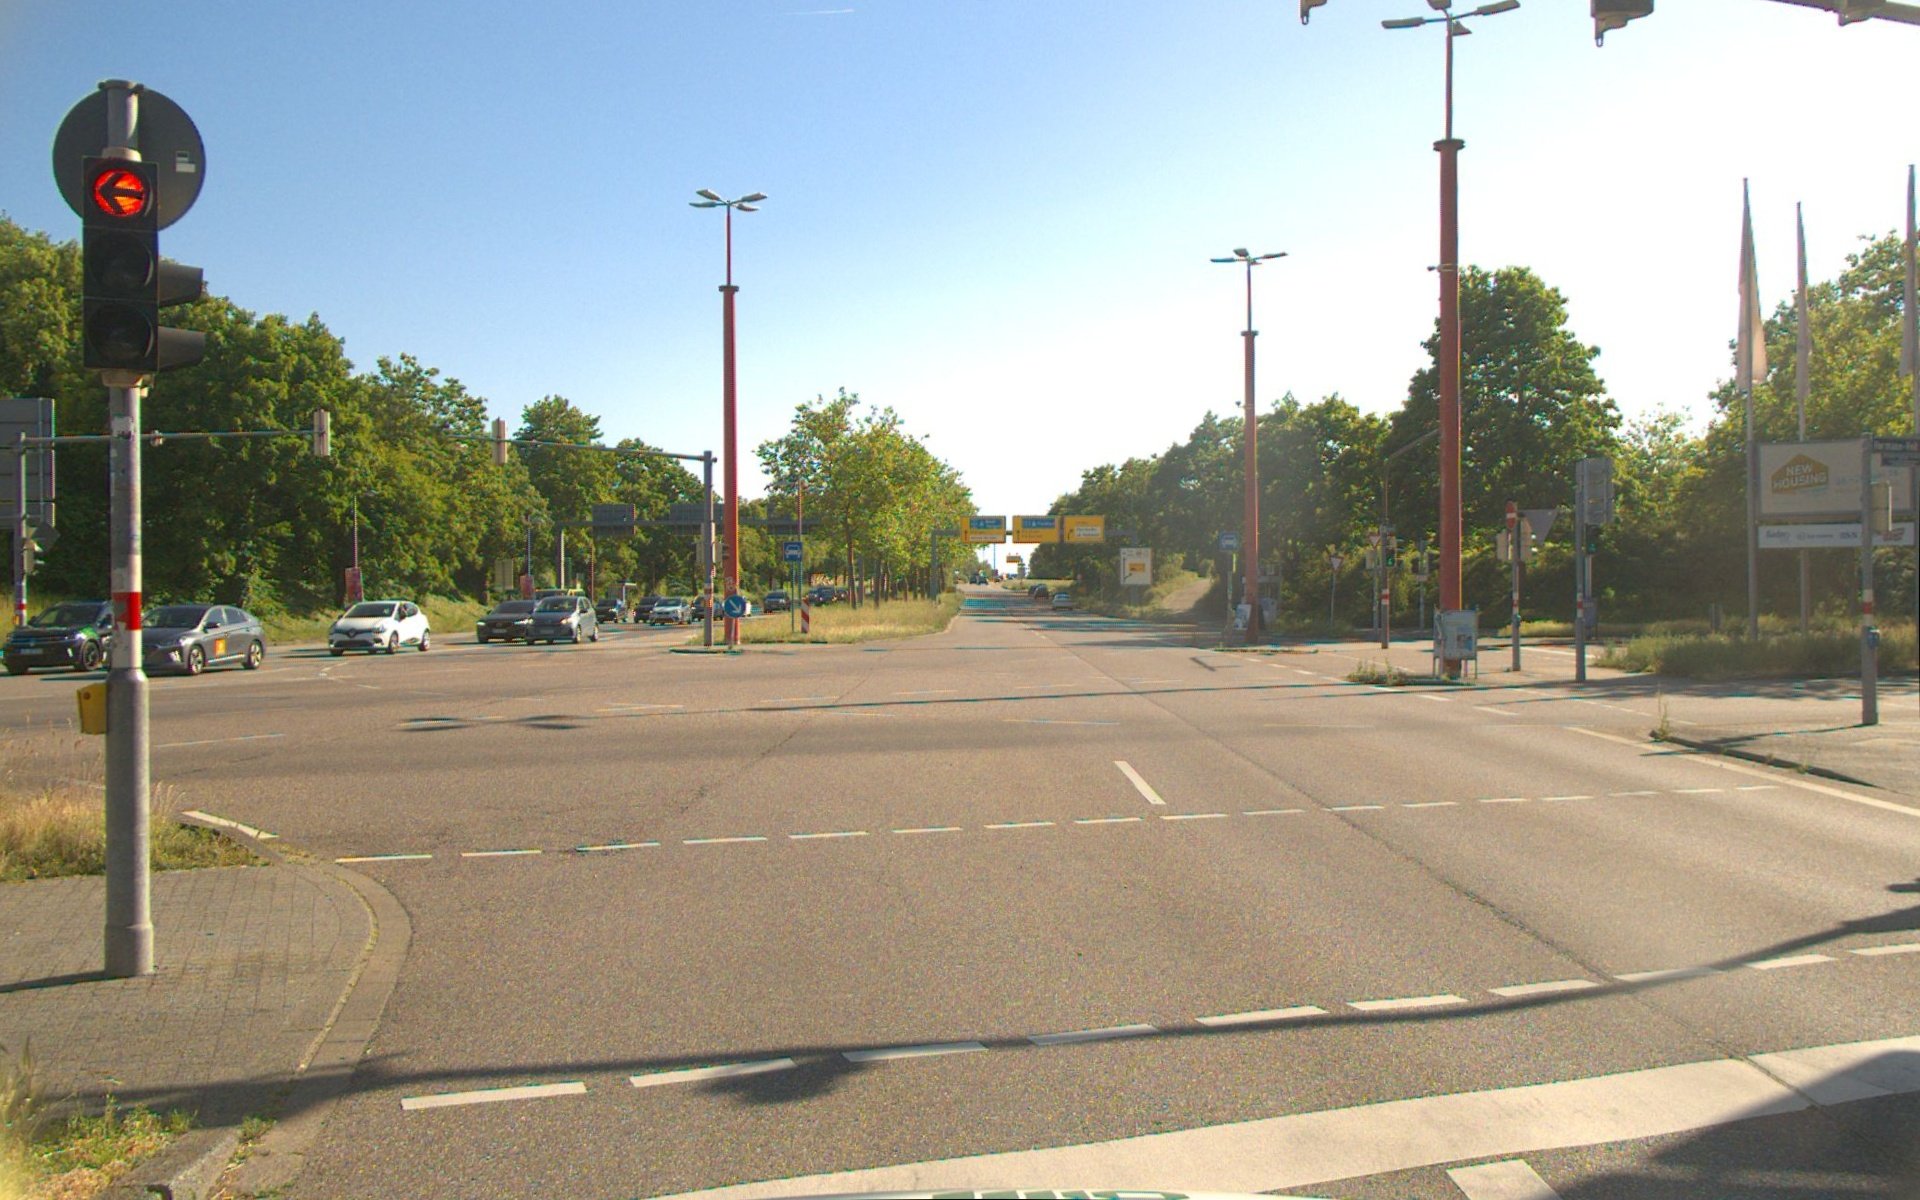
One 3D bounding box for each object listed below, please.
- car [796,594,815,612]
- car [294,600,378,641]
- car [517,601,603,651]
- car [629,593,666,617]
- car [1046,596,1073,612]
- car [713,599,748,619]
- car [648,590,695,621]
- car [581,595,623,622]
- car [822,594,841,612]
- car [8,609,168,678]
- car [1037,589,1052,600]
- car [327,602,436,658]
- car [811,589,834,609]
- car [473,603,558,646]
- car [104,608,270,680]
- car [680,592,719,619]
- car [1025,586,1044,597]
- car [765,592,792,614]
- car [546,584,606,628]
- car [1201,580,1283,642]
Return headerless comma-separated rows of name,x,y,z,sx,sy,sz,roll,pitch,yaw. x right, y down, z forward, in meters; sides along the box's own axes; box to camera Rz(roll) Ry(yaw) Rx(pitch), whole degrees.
car,-17.909,0.327,192.407,1.963,2.049,3.998,1,0,-2
car,-20.598,0.665,54.716,1.424,1.296,3.612,1,0,-1
car,-12.789,0.810,53.044,1.666,1.446,4.000,3,0,1
car,-19.172,0.314,101.584,1.595,1.476,3.434,1,0,0
car,8.880,0.353,148.445,2.013,1.395,4.390,0,0,-2
car,-15.625,0.615,112.641,1.963,1.330,3.998,0,0,-2
car,-15.280,0.290,87.753,1.668,1.624,4.001,1,0,2
car,-22.631,0.541,104.671,1.953,1.667,3.998,1,0,-3
car,-14.446,0.336,185.593,1.963,2.049,3.998,1,0,-2
car,-19.779,0.945,37.683,1.512,1.458,3.886,-1,0,1
car,10.624,-0.723,207.789,1.702,1.365,3.082,0,0,1
car,-15.969,0.796,45.878,1.572,1.485,3.951,0,0,1
car,-12.404,-0.095,148.975,1.622,1.778,4.001,1,0,2
car,-15.490,0.832,57.884,1.595,1.392,4.797,0,0,1
car,-16.296,0.883,35.115,1.516,1.401,4.262,0,0,0
car,-15.865,0.335,100.808,1.668,1.586,3.804,1,0,1
car,10.488,-1.133,232.750,1.956,1.523,3.994,0,0,-7
car,-14.546,0.209,132.889,1.592,1.769,4.001,0,0,2
car,-18.493,0.291,79.909,1.721,2.022,4.789,1,0,1
car,9.248,0.343,53.988,1.952,1.920,4.001,0,0,20
